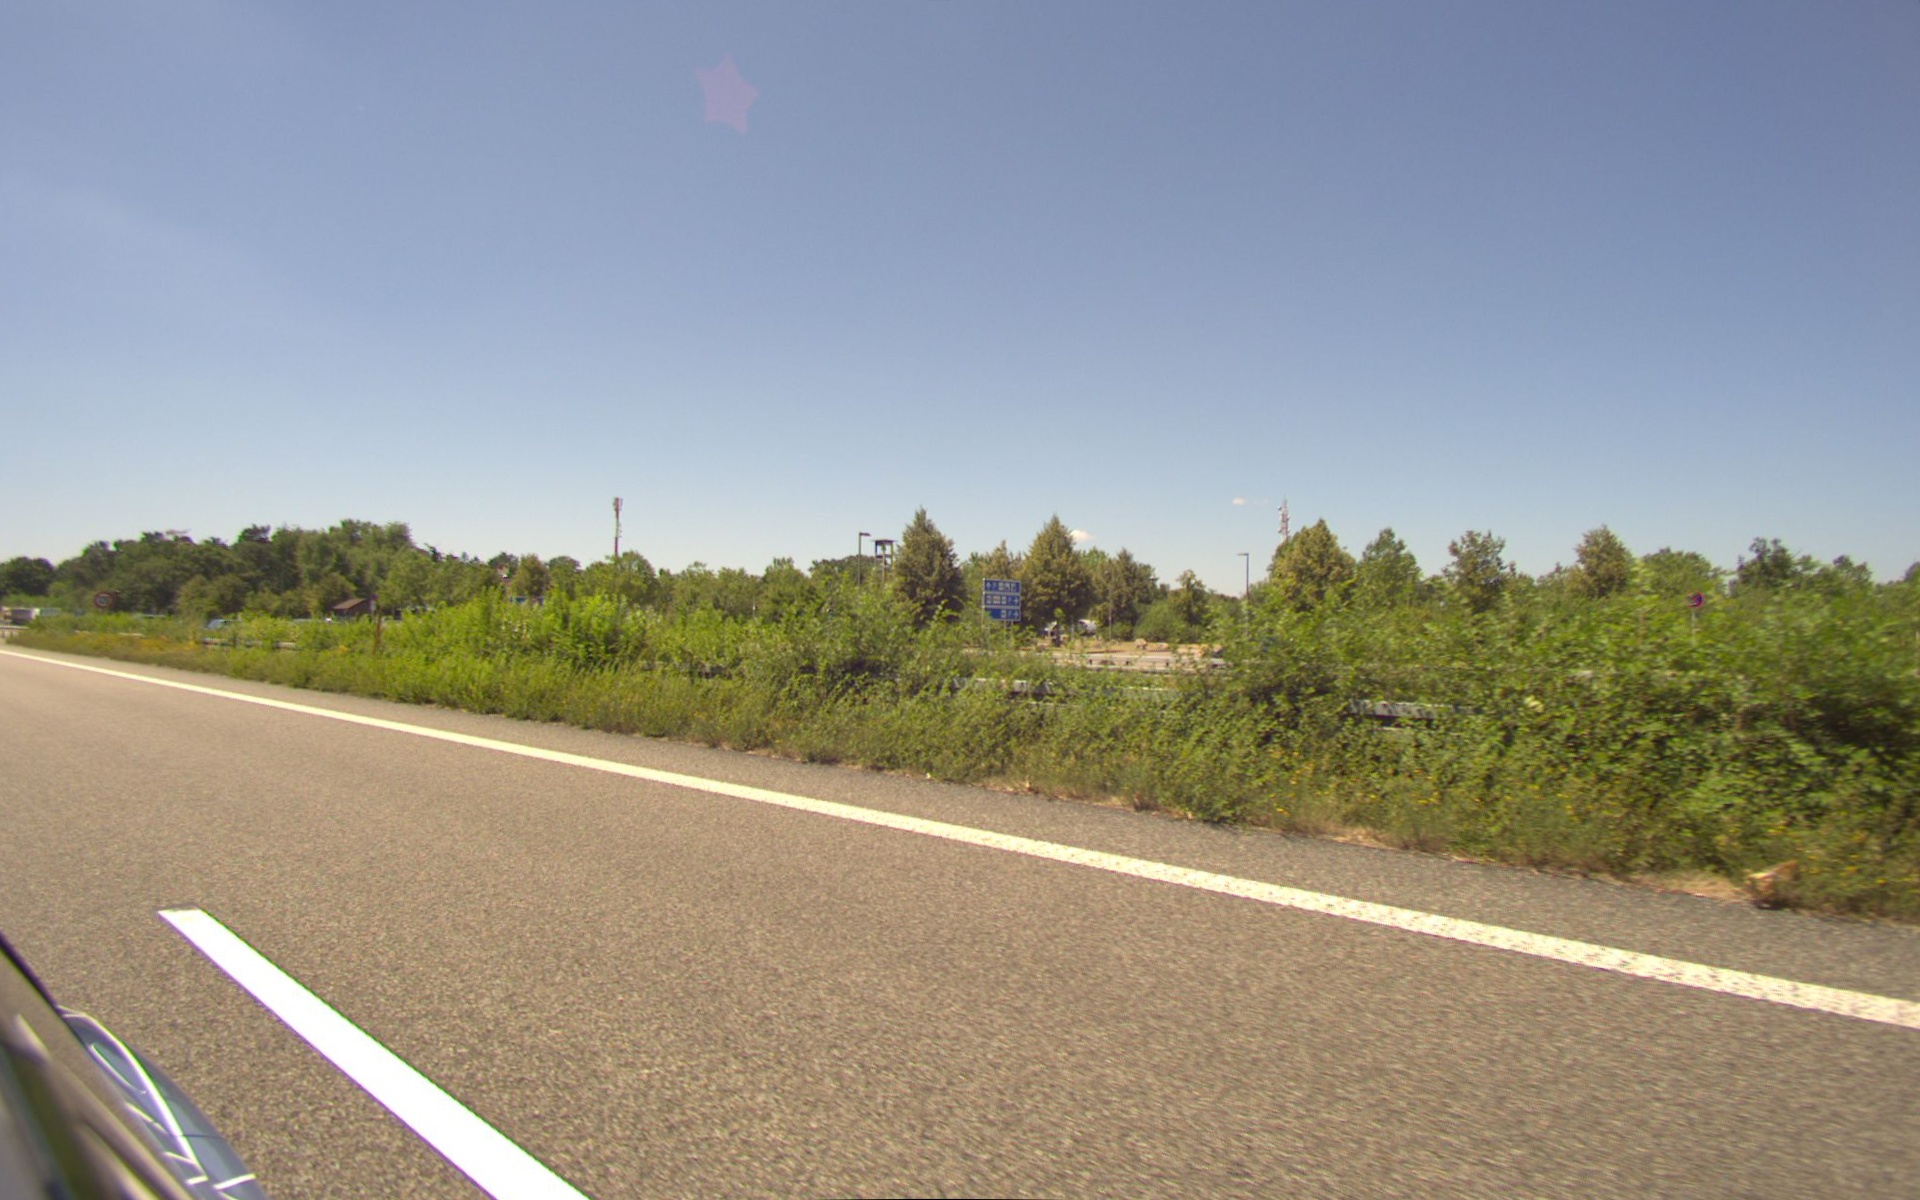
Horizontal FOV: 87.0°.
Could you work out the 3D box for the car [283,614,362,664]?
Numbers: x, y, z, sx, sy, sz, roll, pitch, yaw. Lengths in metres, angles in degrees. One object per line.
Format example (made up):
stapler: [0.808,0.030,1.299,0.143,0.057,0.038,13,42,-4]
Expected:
car: [-23.535,1.402,37.319,3.590,1.723,1.684,-1,-1,44]

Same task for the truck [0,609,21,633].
truck: [-142.594,3.125,151.280,5.642,3.542,2.753,-1,0,41]

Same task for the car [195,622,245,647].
car: [-45.194,2.073,61.779,3.849,1.435,1.527,-1,-3,40]

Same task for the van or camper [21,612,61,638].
van or camper: [-98.355,2.656,108.263,6.363,2.601,2.393,-1,0,41]

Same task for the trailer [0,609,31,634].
trailer: [-138.373,3.073,147.778,9.362,3.542,2.754,-1,0,40]
